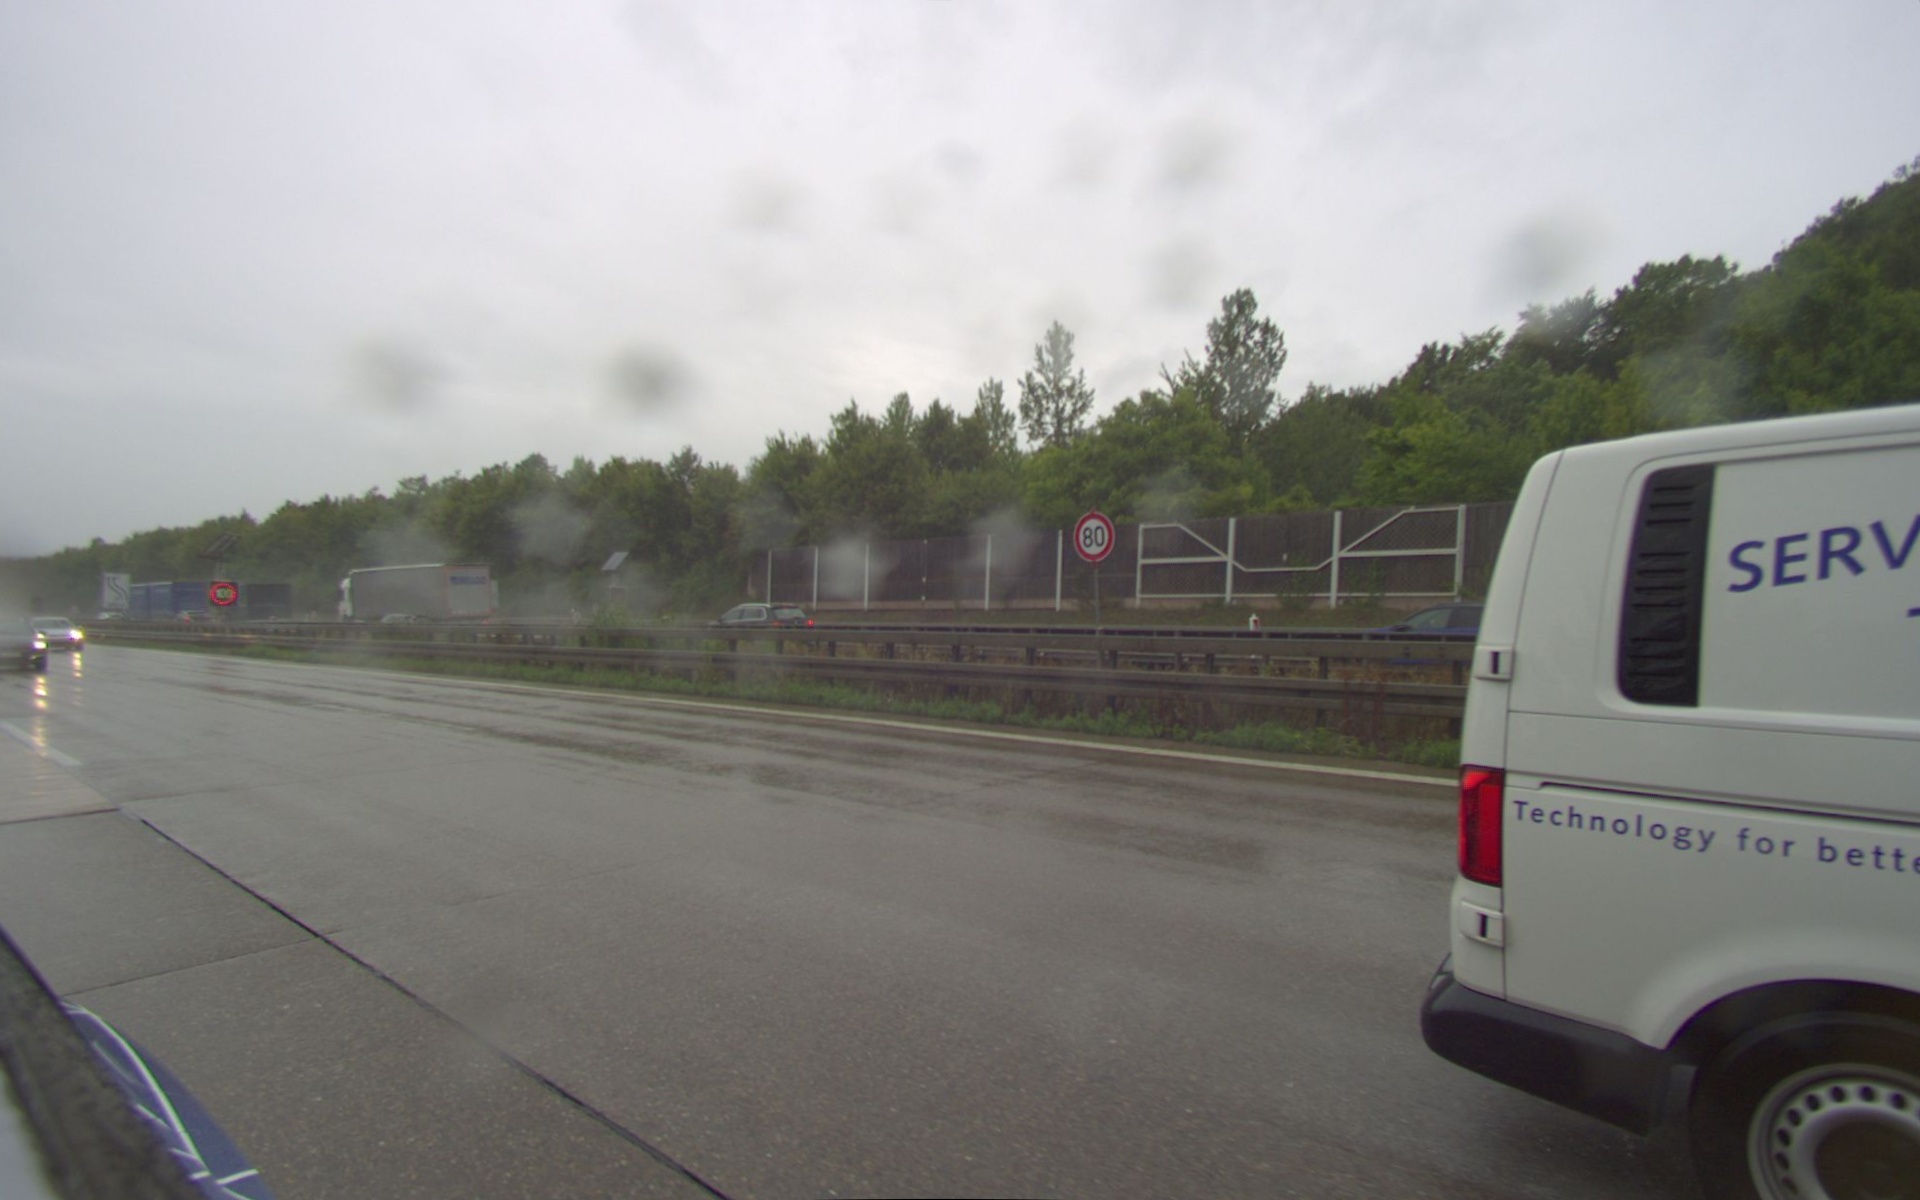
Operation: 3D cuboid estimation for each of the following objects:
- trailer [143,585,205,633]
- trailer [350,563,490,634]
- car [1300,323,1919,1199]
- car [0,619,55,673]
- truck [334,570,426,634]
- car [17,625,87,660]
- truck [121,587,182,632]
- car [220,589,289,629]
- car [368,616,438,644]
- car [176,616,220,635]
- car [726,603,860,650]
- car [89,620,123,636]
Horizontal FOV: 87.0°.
[{"bbox_3d":[-72.491,0.862,93.267,8.520,4.185,2.819,-1,0,41],"label":"trailer"},{"bbox_3d":[-32.232,0.009,59.933,13.773,3.830,2.738,-1,0,42],"label":"trailer"},{"bbox_3d":[3.391,0.426,1.653,5.041,1.908,1.879,-2,-2,41],"label":"car"},{"bbox_3d":[-27.193,1.272,28.573,4.516,1.445,1.908,-1,-3,42],"label":"car"},{"bbox_3d":[-36.740,0.146,64.001,7.678,3.830,2.746,-1,0,42],"label":"truck"},{"bbox_3d":[-39.994,1.837,44.538,4.346,1.445,1.650,-1,-2,40],"label":"car"},{"bbox_3d":[-79.537,0.978,99.434,10.172,4.185,2.819,-1,0,41],"label":"truck"},{"bbox_3d":[-48.143,0.660,68.996,7.442,2.586,2.160,-1,0,42],"label":"car"},{"bbox_3d":[-28.850,1.530,52.385,4.341,1.313,1.734,-1,0,41],"label":"car"},{"bbox_3d":[-58.362,1.940,77.509,4.422,1.349,1.734,-1,0,41],"label":"car"},{"bbox_3d":[-5.276,0.813,31.621,4.341,1.313,1.734,-1,0,41],"label":"car"},{"bbox_3d":[-80.188,2.637,94.971,4.422,1.349,1.734,-1,0,41],"label":"car"}]
